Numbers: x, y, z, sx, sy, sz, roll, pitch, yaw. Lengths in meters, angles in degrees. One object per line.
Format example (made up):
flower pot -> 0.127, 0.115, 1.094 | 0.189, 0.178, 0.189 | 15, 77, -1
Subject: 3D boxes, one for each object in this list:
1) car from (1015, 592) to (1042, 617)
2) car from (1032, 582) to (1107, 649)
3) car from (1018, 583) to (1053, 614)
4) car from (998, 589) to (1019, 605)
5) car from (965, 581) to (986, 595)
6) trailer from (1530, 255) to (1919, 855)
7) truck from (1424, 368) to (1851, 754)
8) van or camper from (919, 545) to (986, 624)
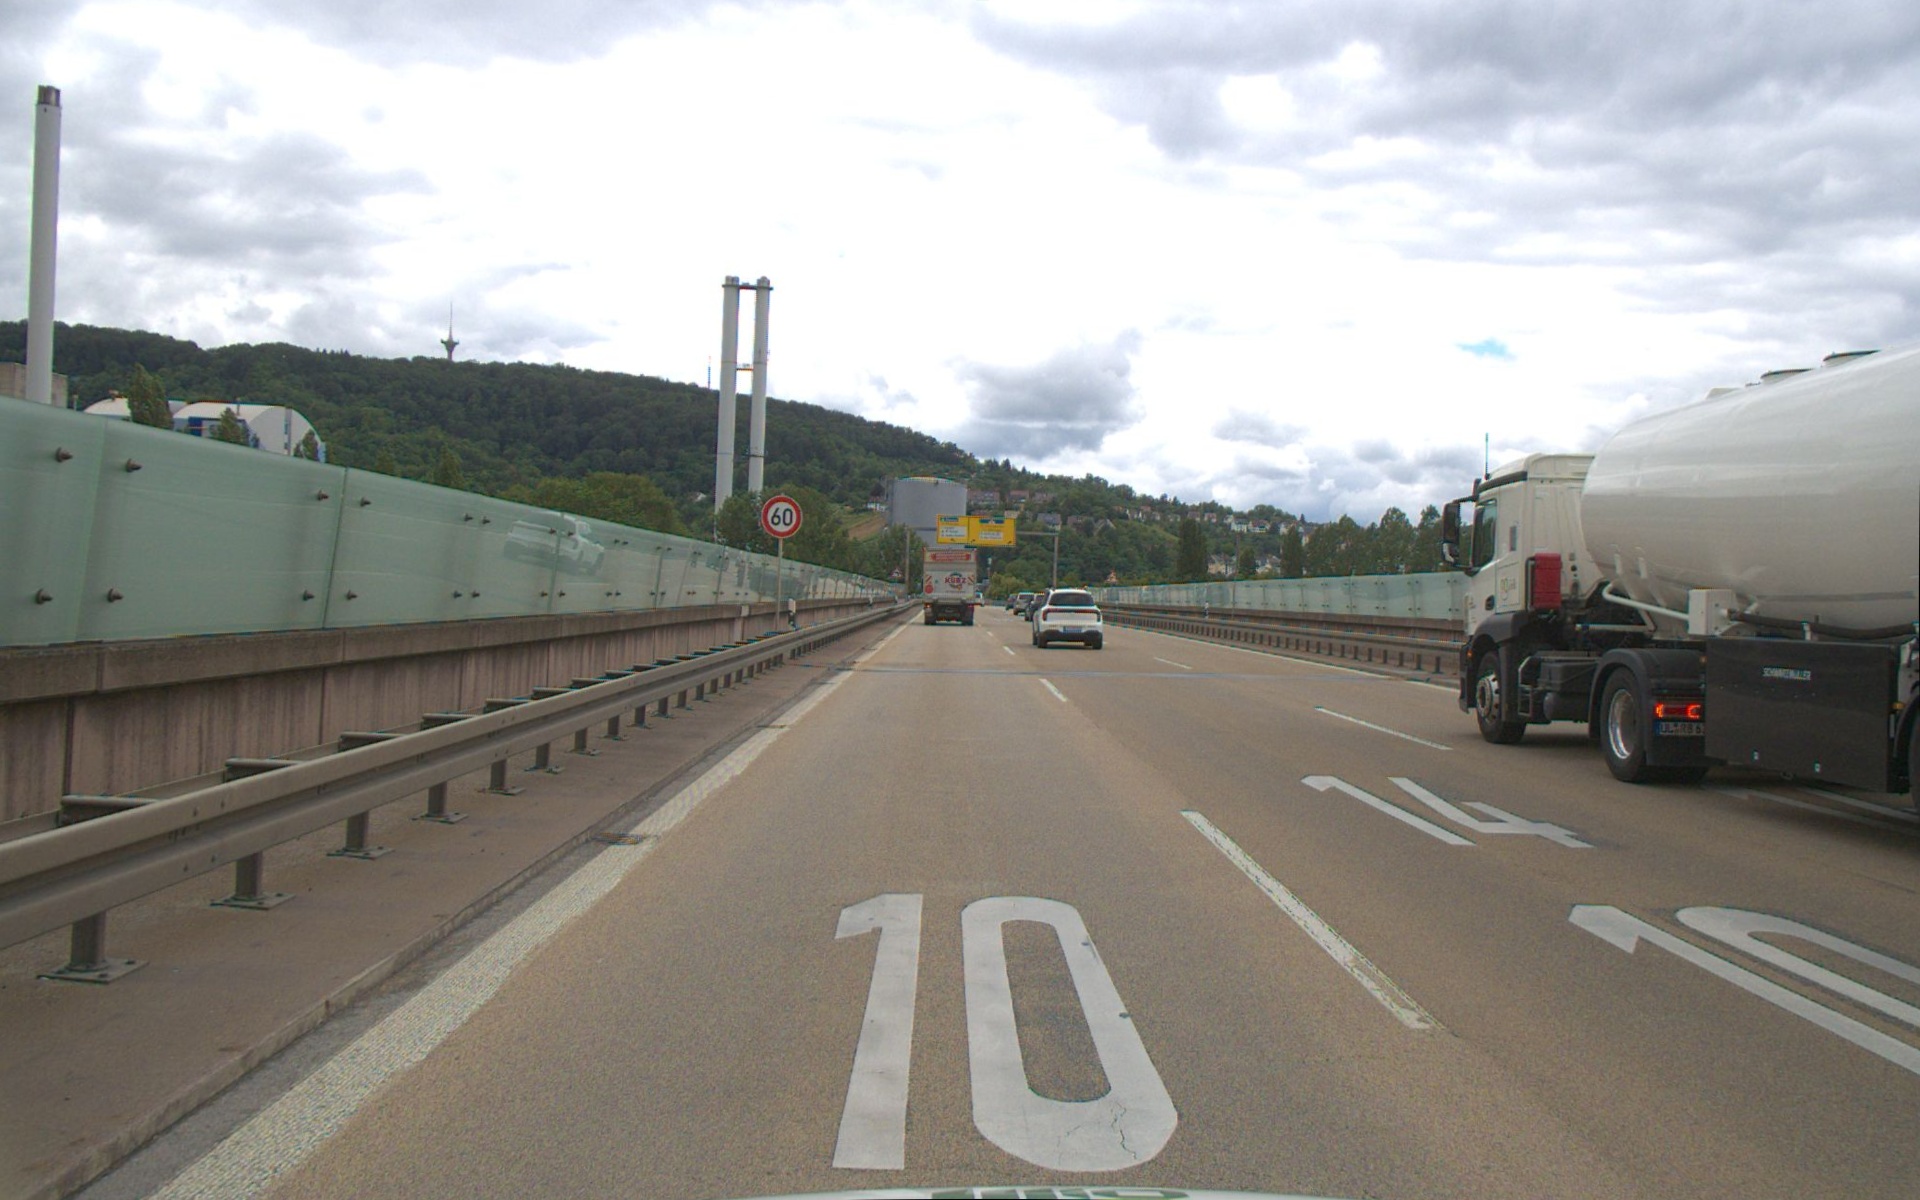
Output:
car -> 5.169, 0.355, 125.507 | 1.884, 1.816, 4.113 | 1, 0, 0
car -> 3.148, 0.408, 48.252 | 1.884, 1.816, 4.113 | 1, 0, 0
car -> 4.490, -0.111, 98.887 | 1.884, 1.816, 4.113 | 1, 0, 0
car -> 4.505, -0.295, 153.827 | 1.884, 1.459, 4.115 | 1, 0, 3
car -> 2.295, -1.754, 247.939 | 2.420, 2.014, 5.164 | 1, 0, 9
trailer -> 7.058, -0.254, 10.980 | 2.596, 3.605, 11.219 | 1, 0, 0
truck -> 7.044, -0.372, 17.974 | 2.577, 3.575, 4.903 | 1, 0, 0
van or camper -> -0.284, -0.717, 81.077 | 3.057, 3.641, 8.550 | 1, 0, 1
